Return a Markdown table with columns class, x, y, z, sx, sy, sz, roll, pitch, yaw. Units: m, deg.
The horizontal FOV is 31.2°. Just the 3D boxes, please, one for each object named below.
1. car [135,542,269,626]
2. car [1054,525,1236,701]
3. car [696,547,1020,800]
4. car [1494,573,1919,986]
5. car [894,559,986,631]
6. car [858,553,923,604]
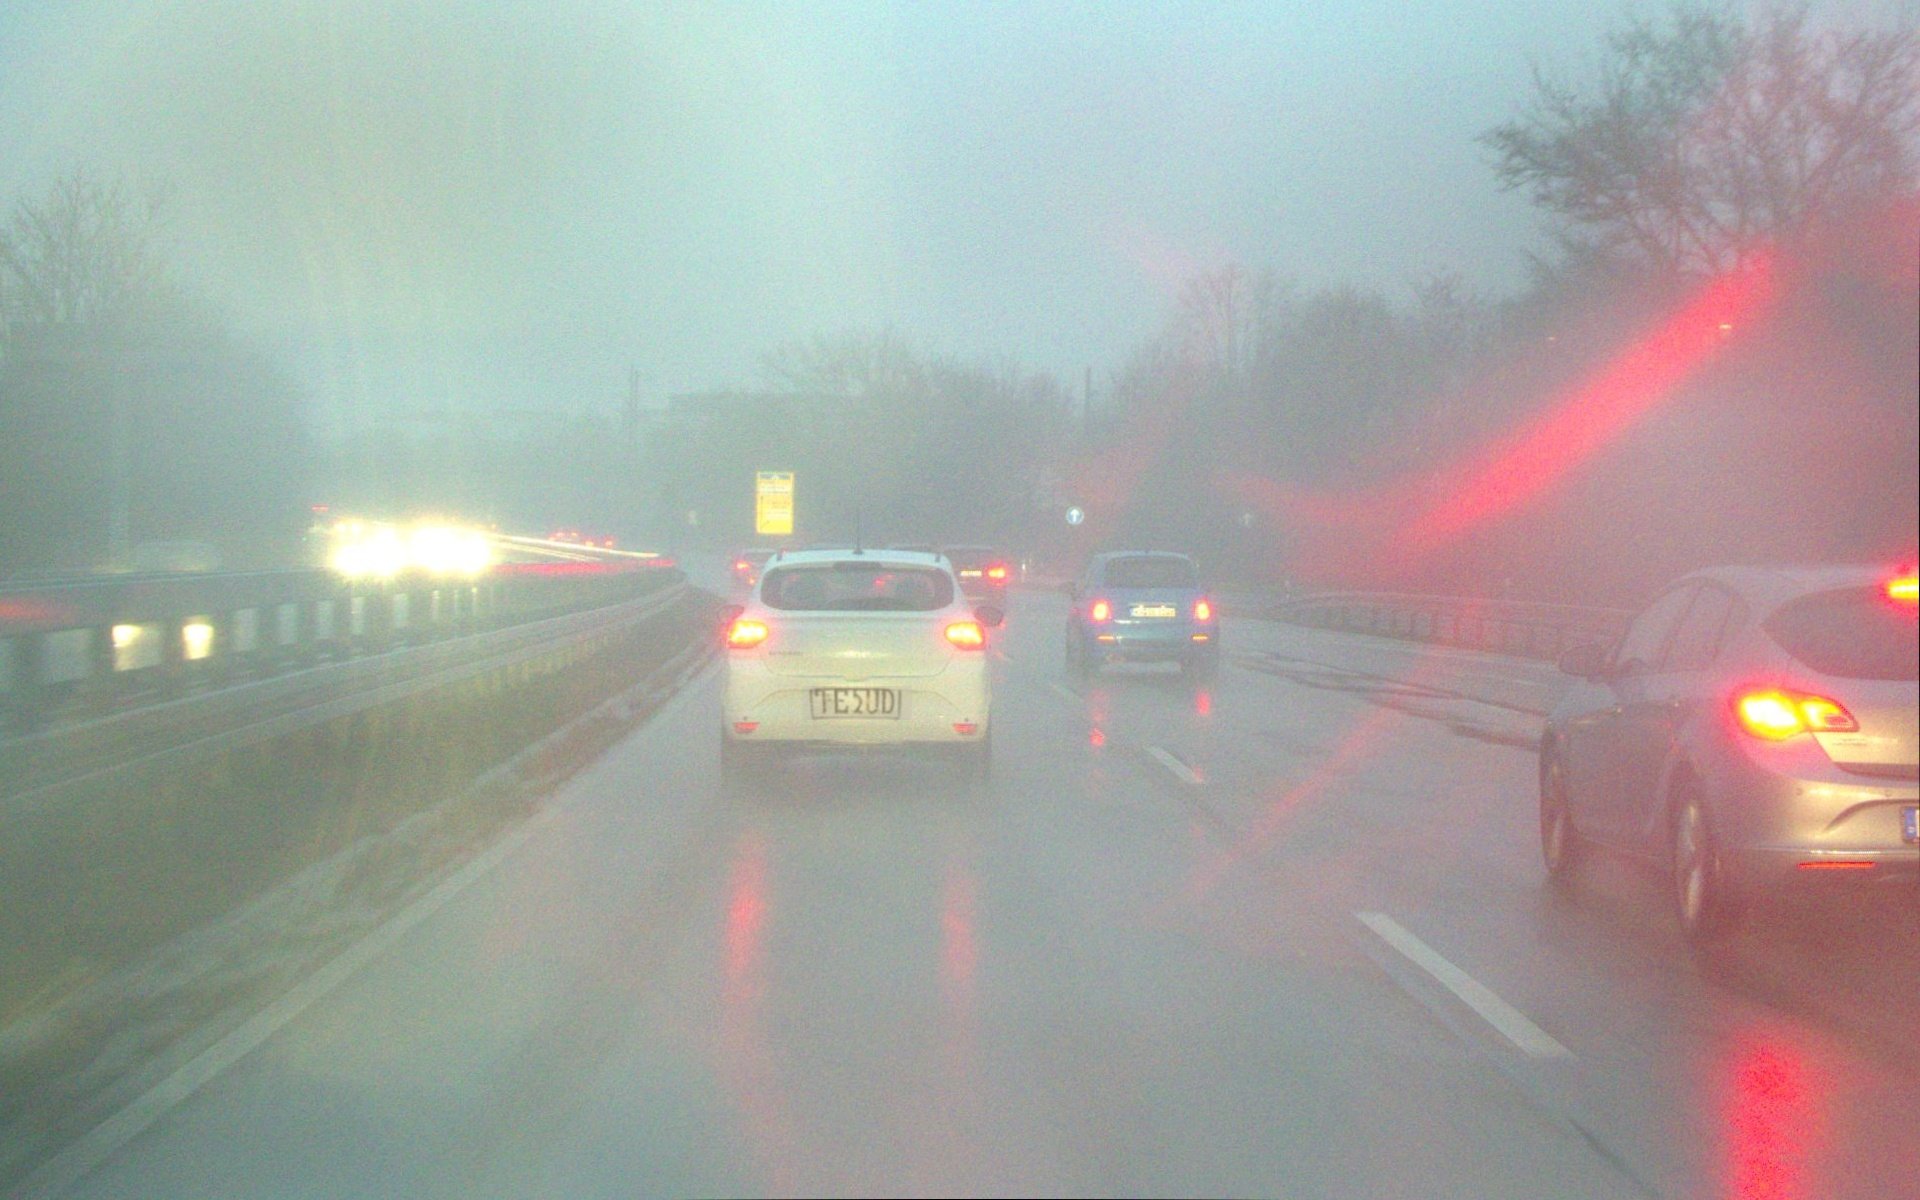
| class | x | y | z | sx | sy | sz | roll | pitch | yaw |
| --- | --- | --- | --- | --- | --- | --- | --- | --- | --- |
| car | -13.461 | -0.300 | 61.204 | 1.697 | 1.436 | 3.682 | 1 | 1 | -3 |
| car | 2.191 | 0.123 | 41.734 | 1.932 | 2.012 | 3.774 | 1 | 1 | -1 |
| car | -0.749 | 0.436 | 23.680 | 2.024 | 1.569 | 4.001 | 1 | 1 | -3 |
| car | 3.633 | 0.657 | 14.884 | 1.849 | 1.496 | 4.263 | 1 | 1 | -2 |
| car | -0.515 | -0.136 | 83.877 | 1.932 | 1.541 | 3.774 | -5 | 1 | -3 |
| car | -2.177 | -0.681 | 107.088 | 1.932 | 1.541 | 3.774 | 1 | 1 | -2 |
